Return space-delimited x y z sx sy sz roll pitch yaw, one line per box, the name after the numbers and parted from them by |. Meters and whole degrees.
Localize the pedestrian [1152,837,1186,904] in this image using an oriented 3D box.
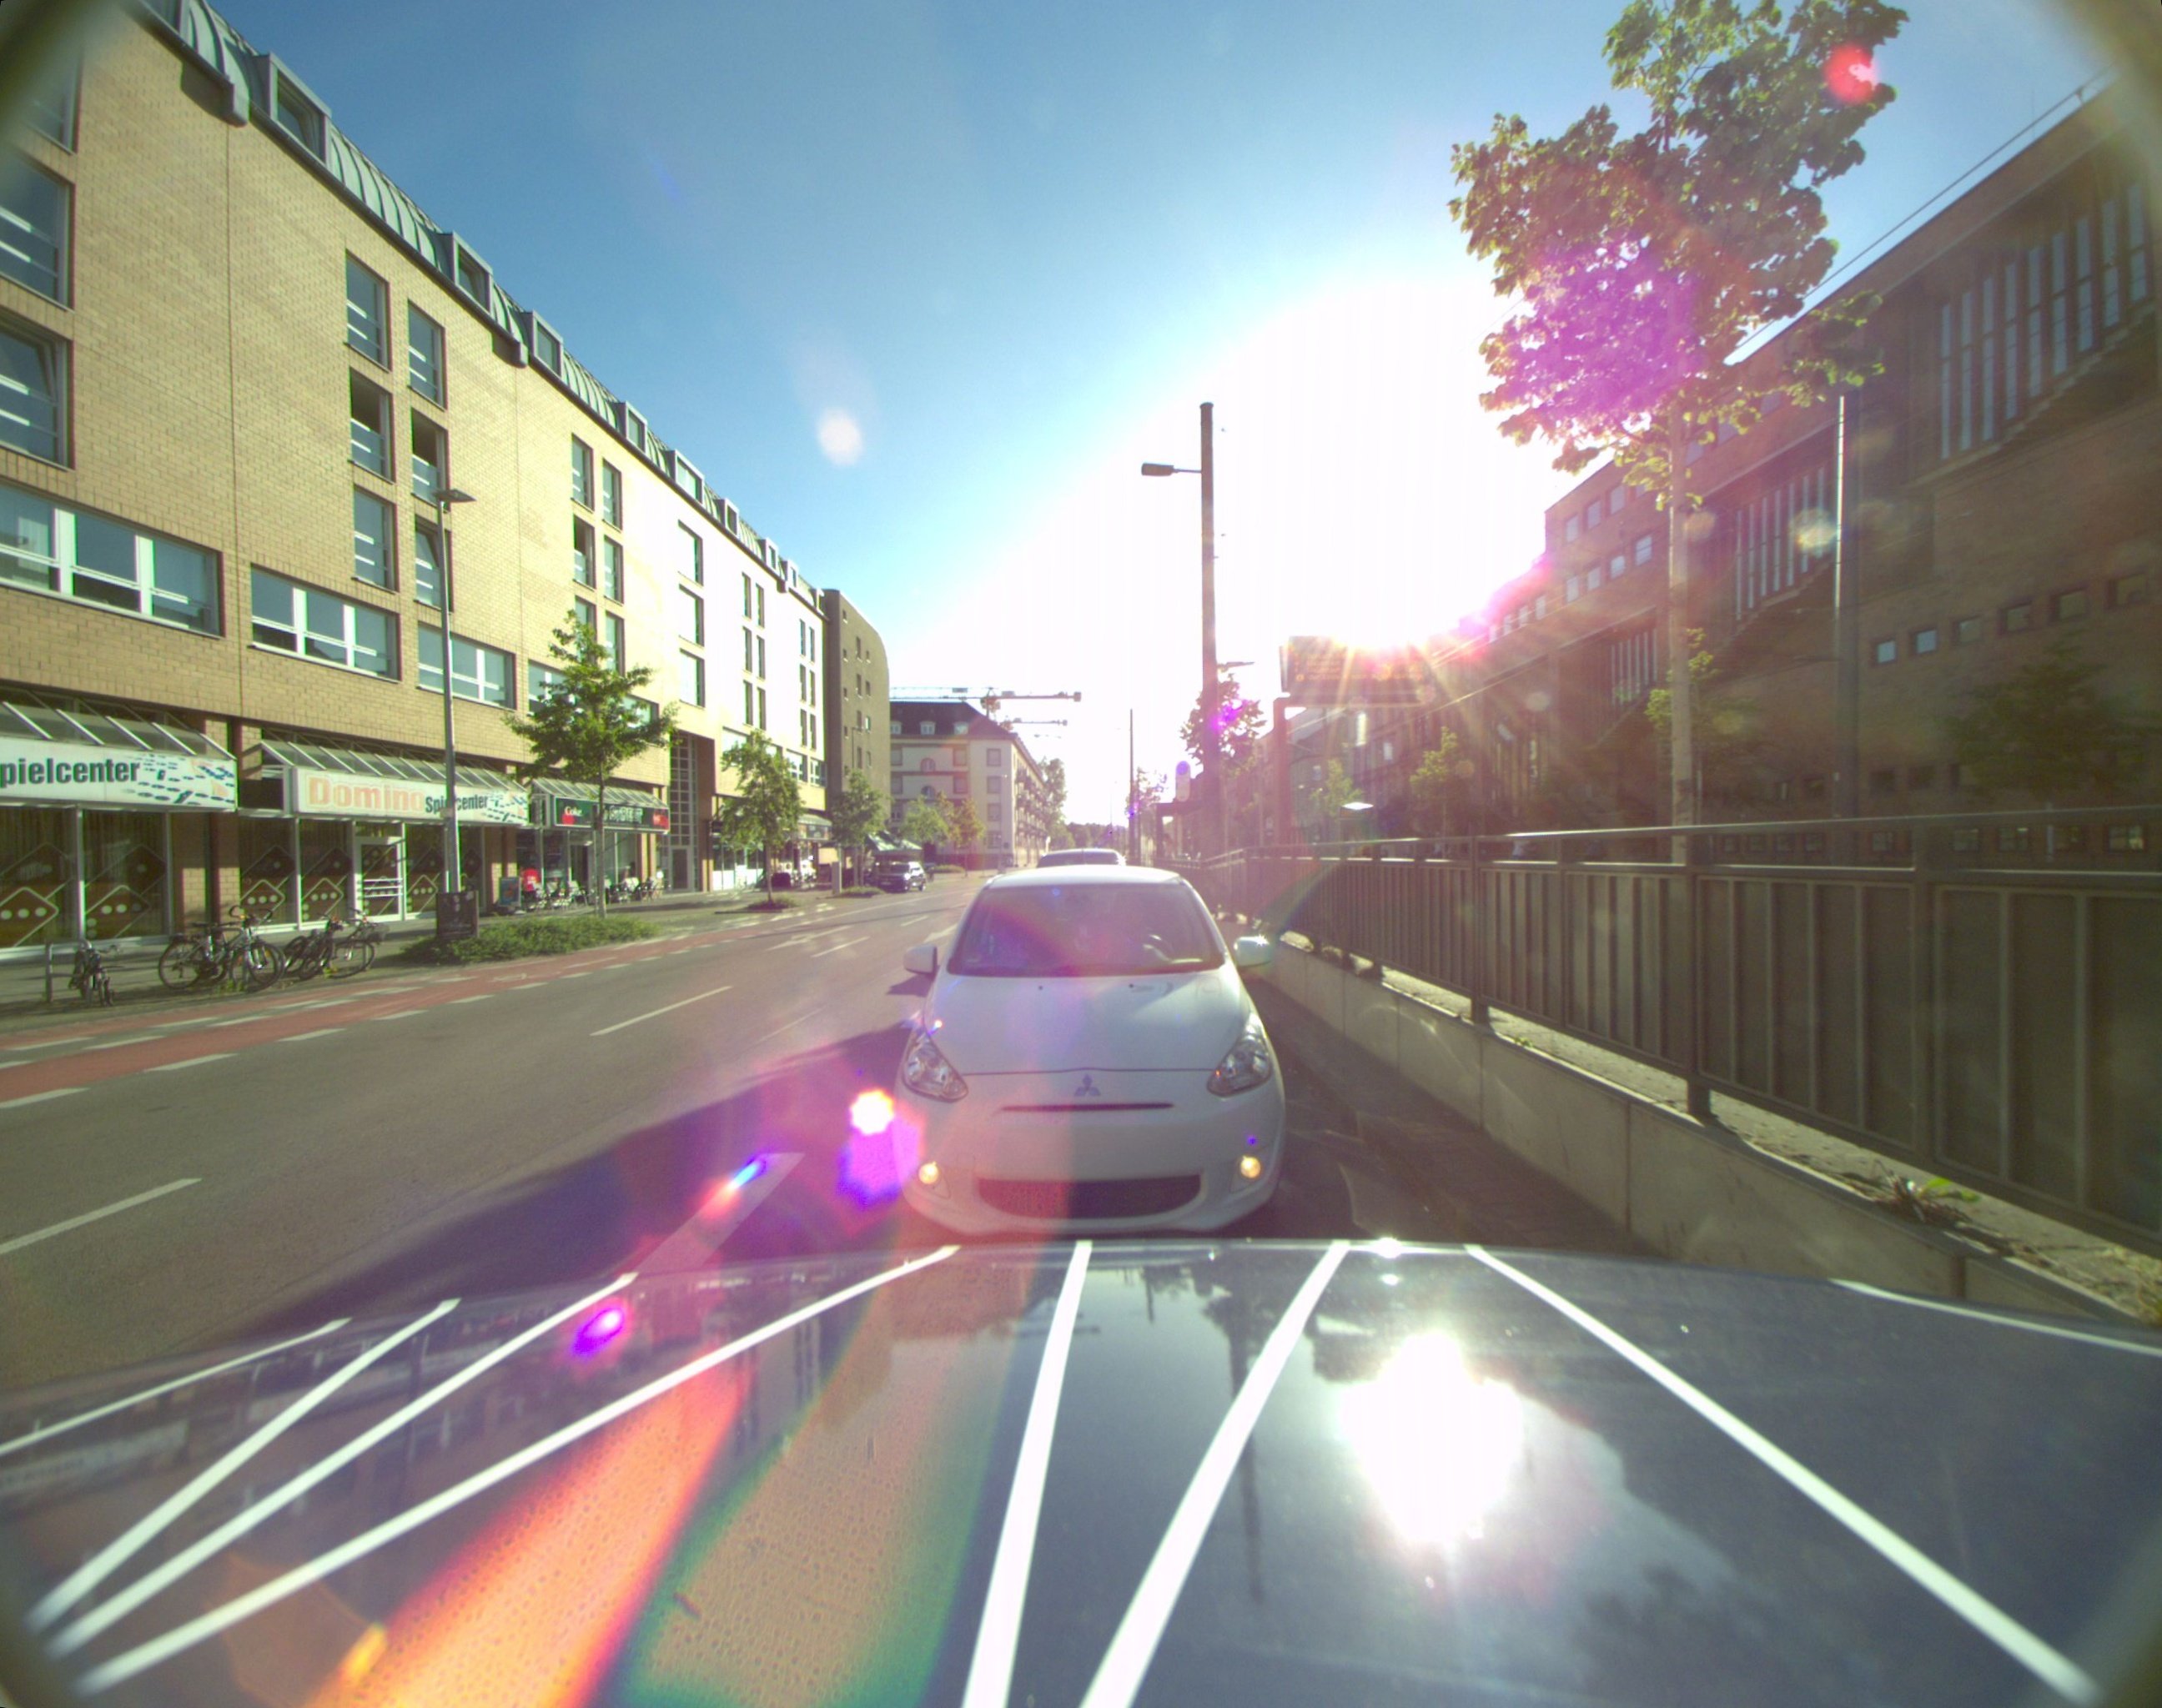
2.674 0.490 23.062 0.783 2.002 0.882 -1 1 25 | pedestrian

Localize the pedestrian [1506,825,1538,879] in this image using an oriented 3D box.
14.485 -0.069 24.979 0.692 1.732 0.586 -1 1 -2 | pedestrian

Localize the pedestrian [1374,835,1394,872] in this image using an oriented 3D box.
14.365 -0.008 36.055 0.692 1.732 0.586 -1 1 -2 | pedestrian

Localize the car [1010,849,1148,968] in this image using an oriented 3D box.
0.000 0.787 13.283 1.955 1.652 4.355 -2 1 1 | car

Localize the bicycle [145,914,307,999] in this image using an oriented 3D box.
-12.357 1.467 11.004 1.774 1.135 0.553 0 2 3 | bicycle

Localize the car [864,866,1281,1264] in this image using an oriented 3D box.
-0.005 0.895 5.180 1.640 1.458 4.186 -2 1 1 | car

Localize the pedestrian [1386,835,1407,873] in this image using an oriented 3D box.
14.478 0.001 34.891 0.692 1.732 0.586 -1 1 -2 | pedestrian

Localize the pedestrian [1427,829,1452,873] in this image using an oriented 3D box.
14.454 -0.131 30.652 0.692 1.732 0.586 -1 1 -2 | pedestrian

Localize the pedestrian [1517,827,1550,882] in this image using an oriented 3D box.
14.484 0.008 24.324 0.692 1.732 0.586 -1 1 -2 | pedestrian

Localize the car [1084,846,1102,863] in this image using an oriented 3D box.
1.345 0.067 87.207 1.998 1.958 4.000 -1 0 1 | car

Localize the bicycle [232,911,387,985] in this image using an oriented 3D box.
-12.394 1.496 12.235 1.774 1.065 0.737 0 2 3 | bicycle

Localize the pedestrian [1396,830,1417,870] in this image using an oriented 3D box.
14.344 -0.159 33.489 0.692 1.732 0.586 -1 1 -2 | pedestrian

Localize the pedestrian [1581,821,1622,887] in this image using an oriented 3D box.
13.989 0.001 20.444 0.692 1.732 0.586 -1 1 -2 | pedestrian

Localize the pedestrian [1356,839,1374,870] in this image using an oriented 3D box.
14.488 0.036 38.744 0.692 1.566 0.586 -1 1 -2 | pedestrian

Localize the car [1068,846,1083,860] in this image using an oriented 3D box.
-0.657 -0.111 96.439 1.829 1.644 3.682 -1 0 0 | car

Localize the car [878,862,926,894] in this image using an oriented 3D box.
-9.764 1.268 41.668 1.655 1.521 3.693 -2 1 1 | car

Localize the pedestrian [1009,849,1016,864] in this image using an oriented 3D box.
-7.841 0.293 86.768 0.804 1.656 0.891 -1 1 -6 | pedestrian

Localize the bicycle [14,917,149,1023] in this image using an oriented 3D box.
-12.825 1.448 9.742 1.771 1.142 0.554 1 2 21 | bicycle
